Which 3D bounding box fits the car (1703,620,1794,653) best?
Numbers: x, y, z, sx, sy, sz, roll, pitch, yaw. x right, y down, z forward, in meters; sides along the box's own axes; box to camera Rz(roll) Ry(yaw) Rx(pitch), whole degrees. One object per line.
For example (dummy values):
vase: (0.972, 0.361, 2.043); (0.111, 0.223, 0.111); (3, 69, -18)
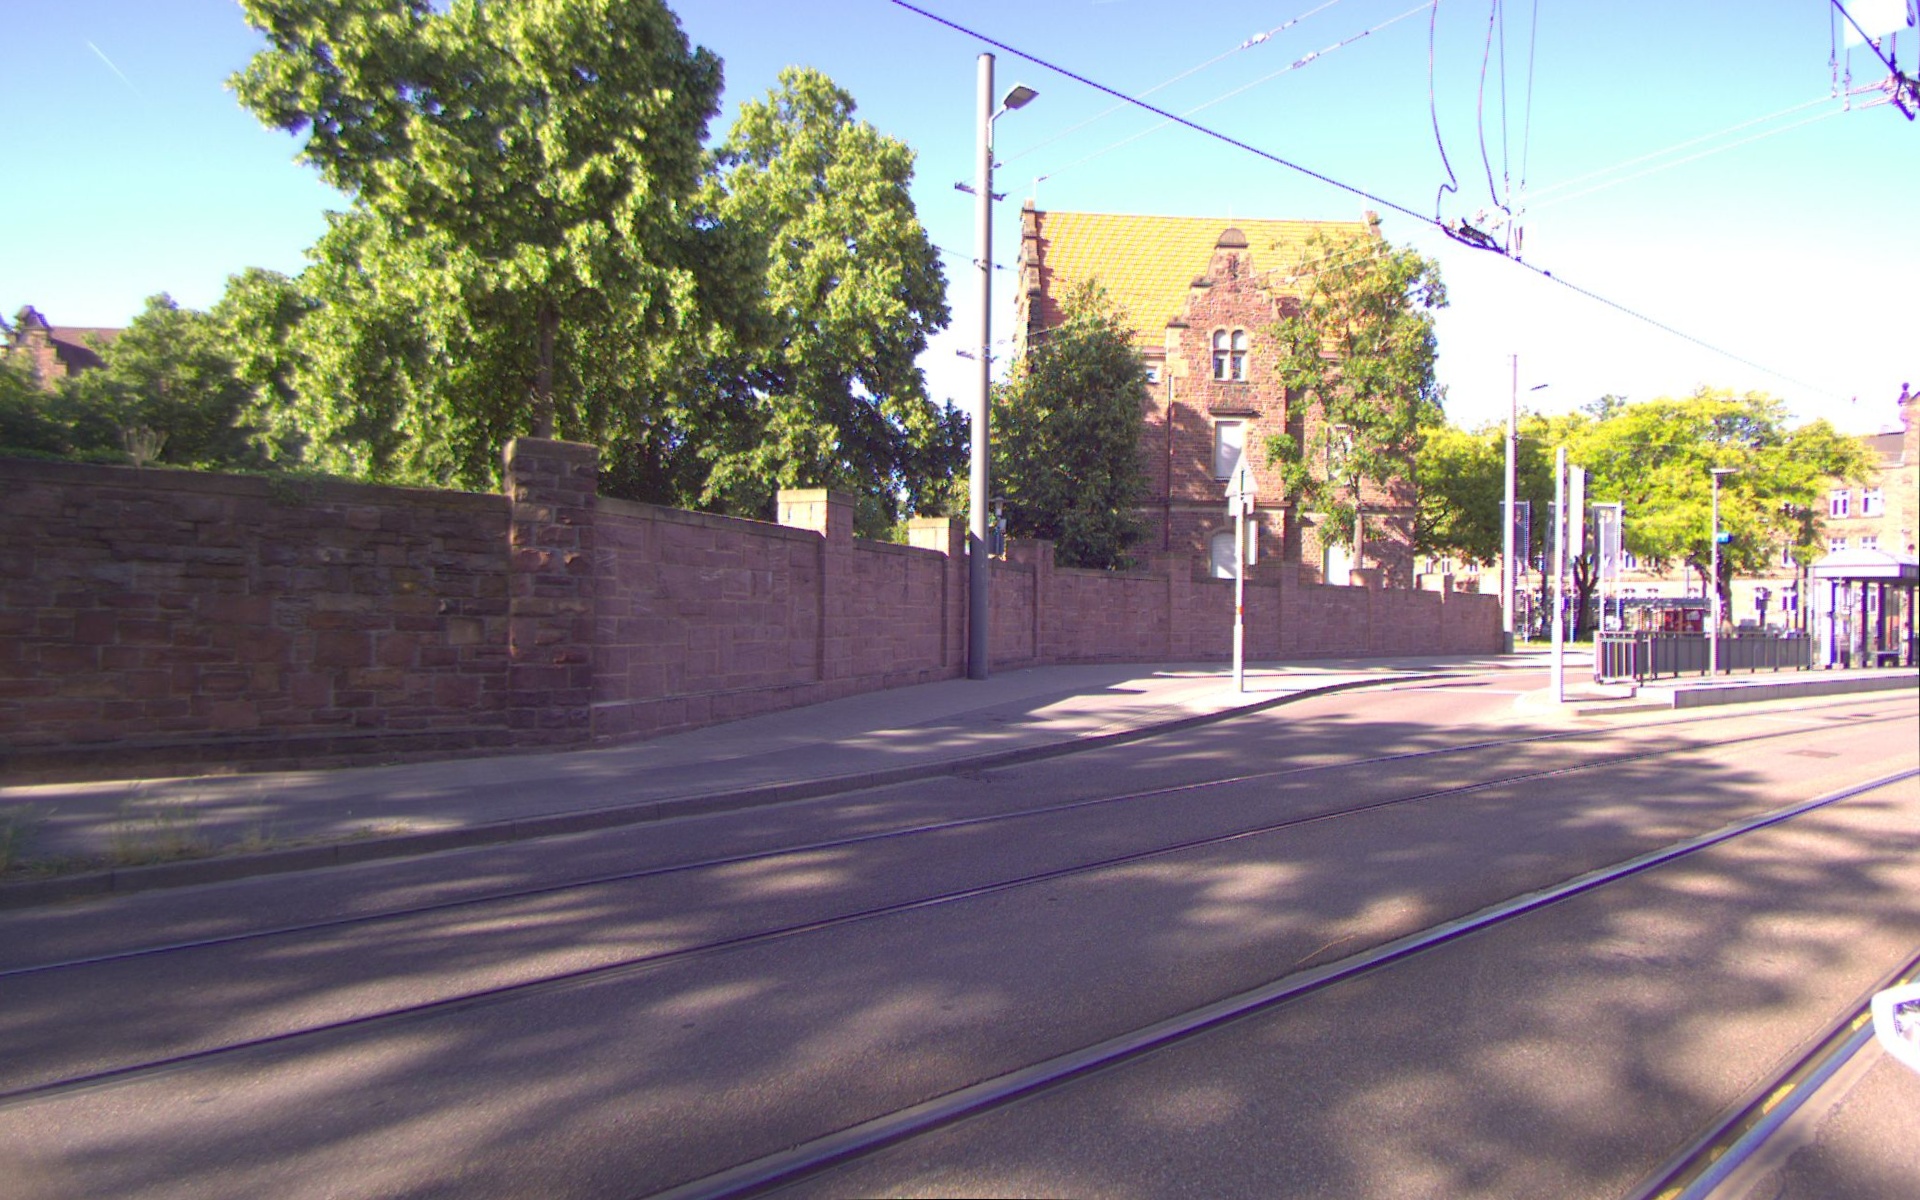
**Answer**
car: (47.663, 2.187, 60.764); (1.981, 1.813, 3.960); (1, -1, -36)
